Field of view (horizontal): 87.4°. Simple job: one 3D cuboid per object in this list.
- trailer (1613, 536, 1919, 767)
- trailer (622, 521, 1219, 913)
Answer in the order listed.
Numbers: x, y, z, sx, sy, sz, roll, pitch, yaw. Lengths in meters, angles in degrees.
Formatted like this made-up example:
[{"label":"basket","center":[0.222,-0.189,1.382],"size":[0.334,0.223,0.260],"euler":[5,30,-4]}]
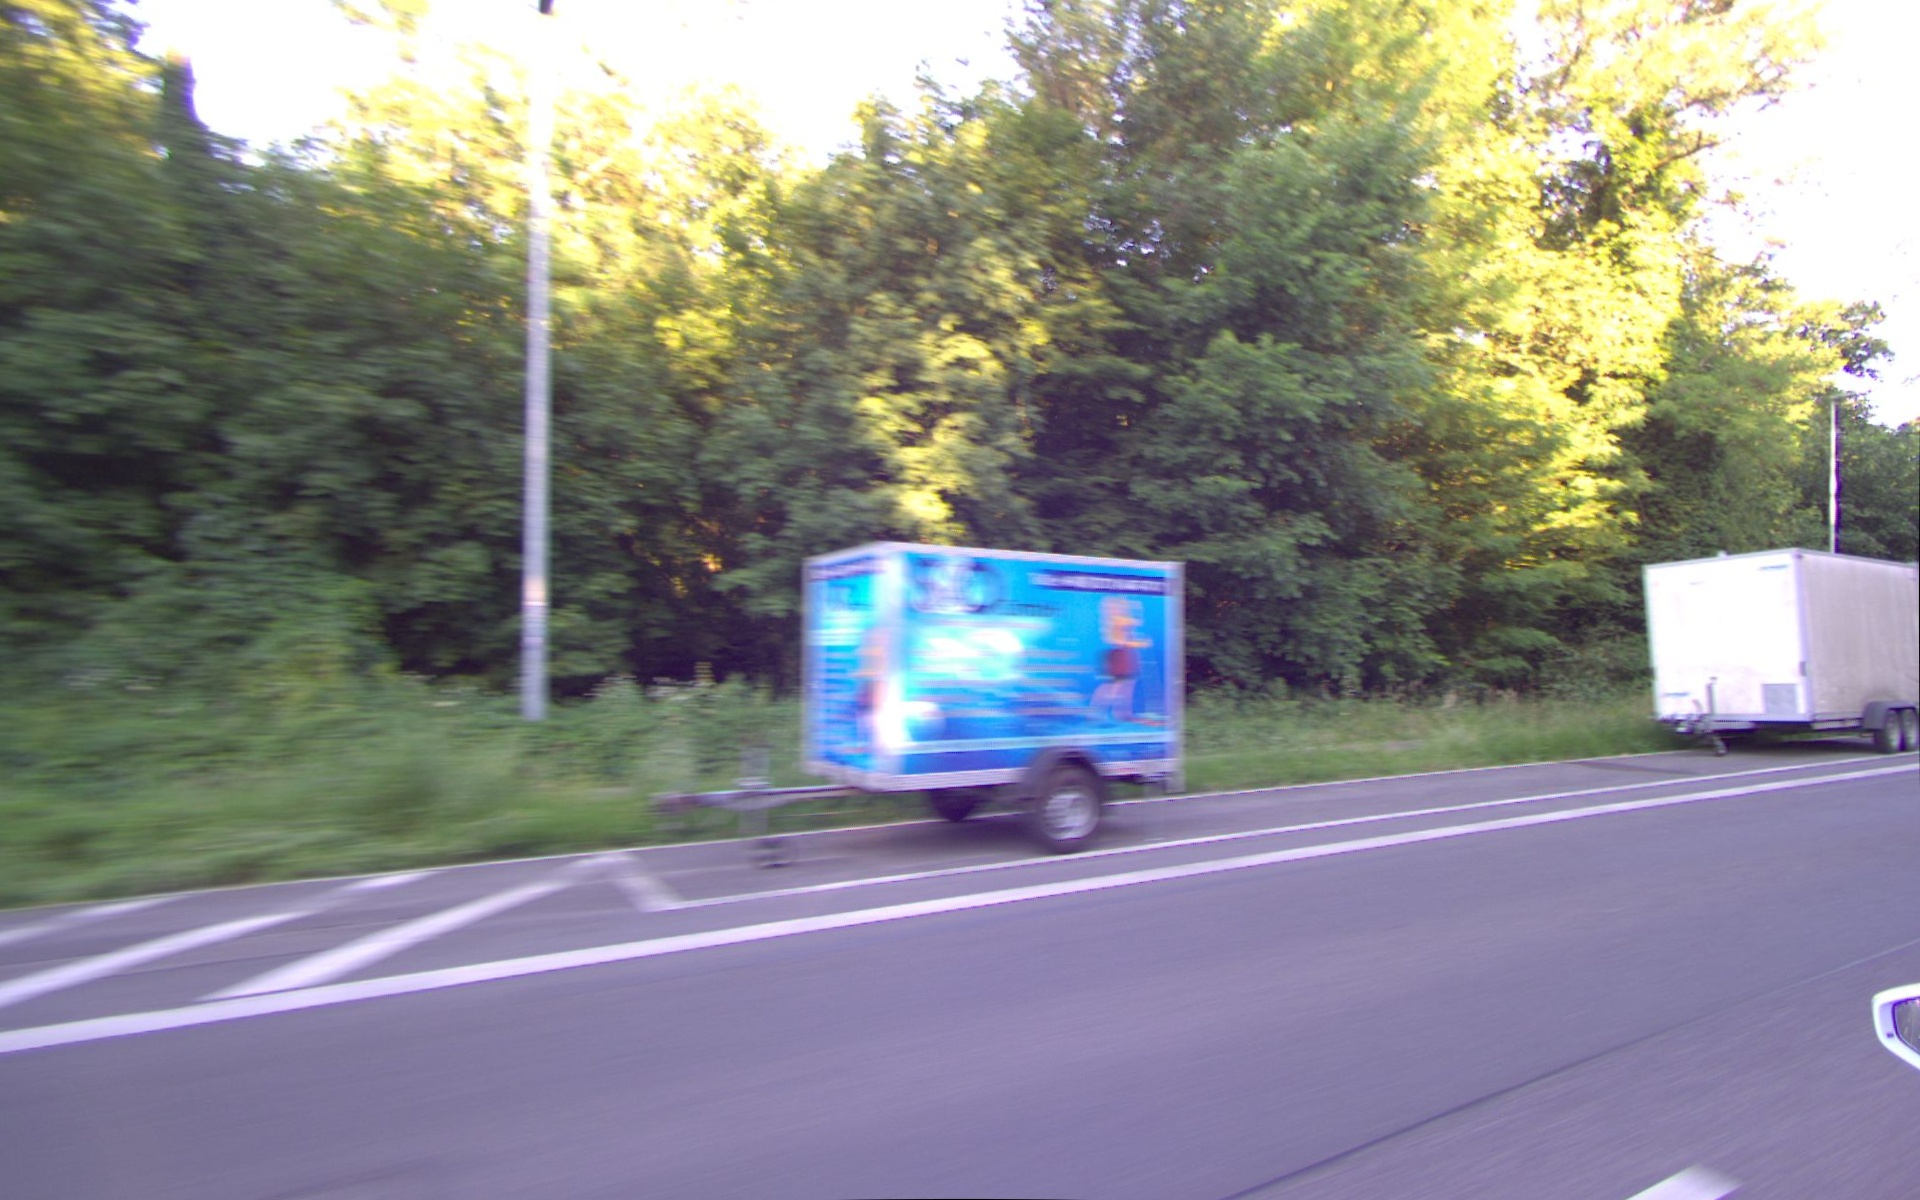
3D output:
[{"label":"trailer","center":[12.731,0.801,15.358],"size":[5.562,2.962,2.315],"euler":[2,-4,-31]},{"label":"trailer","center":[-0.205,0.737,7.486],"size":[4.095,2.196,1.808],"euler":[2,-3,-31]}]
